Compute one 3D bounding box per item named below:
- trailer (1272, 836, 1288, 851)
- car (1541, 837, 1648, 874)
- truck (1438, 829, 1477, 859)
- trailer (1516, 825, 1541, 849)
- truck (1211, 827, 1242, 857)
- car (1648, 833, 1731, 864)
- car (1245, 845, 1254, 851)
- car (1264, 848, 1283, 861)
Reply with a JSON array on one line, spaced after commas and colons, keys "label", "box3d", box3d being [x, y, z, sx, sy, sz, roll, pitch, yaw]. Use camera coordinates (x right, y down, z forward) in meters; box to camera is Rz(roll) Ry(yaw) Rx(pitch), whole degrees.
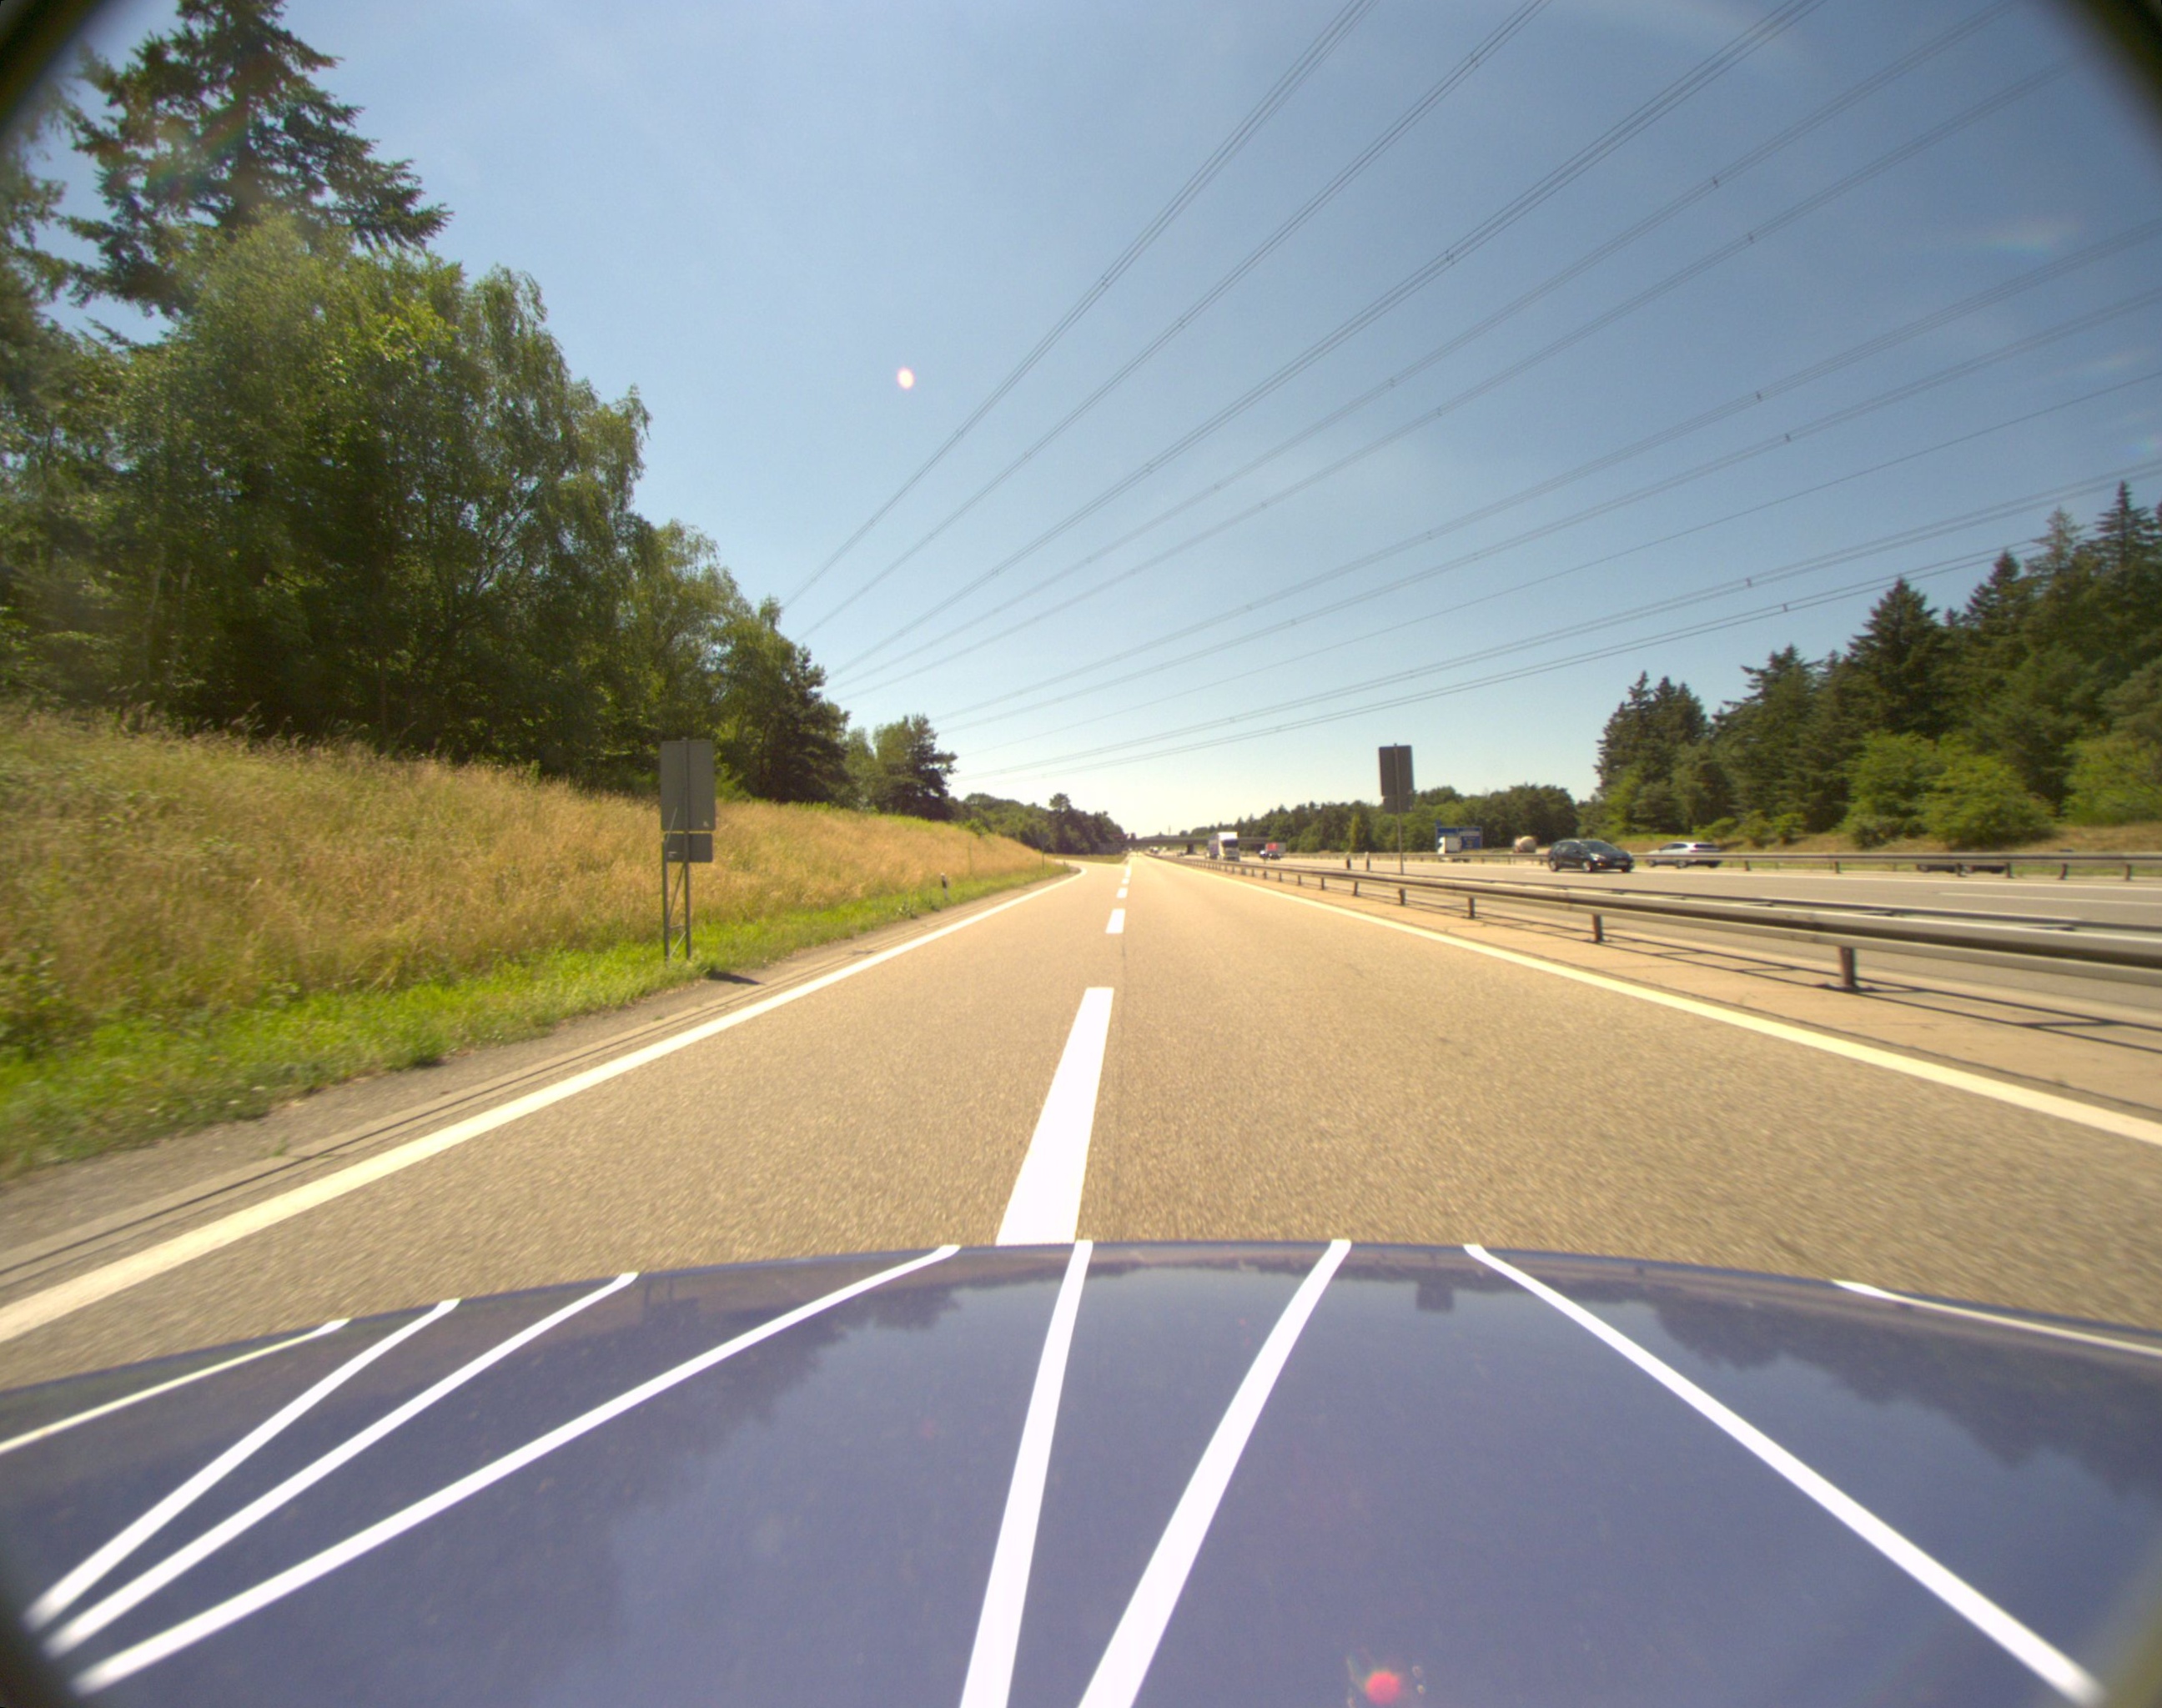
[{"label": "trailer", "box3d": [53.868, -2.836, 205.786, 2.546, 3.775, 13.749, -1, 0, 7]}, {"label": "car", "box3d": [22.871, 0.049, 34.047, 1.998, 1.467, 4.242, -1, 0, 2]}, {"label": "truck", "box3d": [56.822, -1.547, 114.912, 2.866, 4.321, 7.531, -1, 2, 5]}, {"label": "trailer", "box3d": [75.823, -2.776, 128.957, 2.774, 3.775, 8.952, -1, 0, 25]}, {"label": "truck", "box3d": [20.218, -1.609, 106.119, 2.709, 4.034, 11.050, -1, 0, 3]}, {"label": "car", "box3d": [37.198, -0.338, 46.589, 1.998, 1.773, 4.000, -1, 1, 2]}, {"label": "car", "box3d": [51.854, -1.964, 233.889, 1.919, 1.674, 4.825, -1, 2, 4]}, {"label": "car", "box3d": [26.797, 0.022, 105.855, 1.998, 1.707, 4.001, -1, 1, 5]}]
